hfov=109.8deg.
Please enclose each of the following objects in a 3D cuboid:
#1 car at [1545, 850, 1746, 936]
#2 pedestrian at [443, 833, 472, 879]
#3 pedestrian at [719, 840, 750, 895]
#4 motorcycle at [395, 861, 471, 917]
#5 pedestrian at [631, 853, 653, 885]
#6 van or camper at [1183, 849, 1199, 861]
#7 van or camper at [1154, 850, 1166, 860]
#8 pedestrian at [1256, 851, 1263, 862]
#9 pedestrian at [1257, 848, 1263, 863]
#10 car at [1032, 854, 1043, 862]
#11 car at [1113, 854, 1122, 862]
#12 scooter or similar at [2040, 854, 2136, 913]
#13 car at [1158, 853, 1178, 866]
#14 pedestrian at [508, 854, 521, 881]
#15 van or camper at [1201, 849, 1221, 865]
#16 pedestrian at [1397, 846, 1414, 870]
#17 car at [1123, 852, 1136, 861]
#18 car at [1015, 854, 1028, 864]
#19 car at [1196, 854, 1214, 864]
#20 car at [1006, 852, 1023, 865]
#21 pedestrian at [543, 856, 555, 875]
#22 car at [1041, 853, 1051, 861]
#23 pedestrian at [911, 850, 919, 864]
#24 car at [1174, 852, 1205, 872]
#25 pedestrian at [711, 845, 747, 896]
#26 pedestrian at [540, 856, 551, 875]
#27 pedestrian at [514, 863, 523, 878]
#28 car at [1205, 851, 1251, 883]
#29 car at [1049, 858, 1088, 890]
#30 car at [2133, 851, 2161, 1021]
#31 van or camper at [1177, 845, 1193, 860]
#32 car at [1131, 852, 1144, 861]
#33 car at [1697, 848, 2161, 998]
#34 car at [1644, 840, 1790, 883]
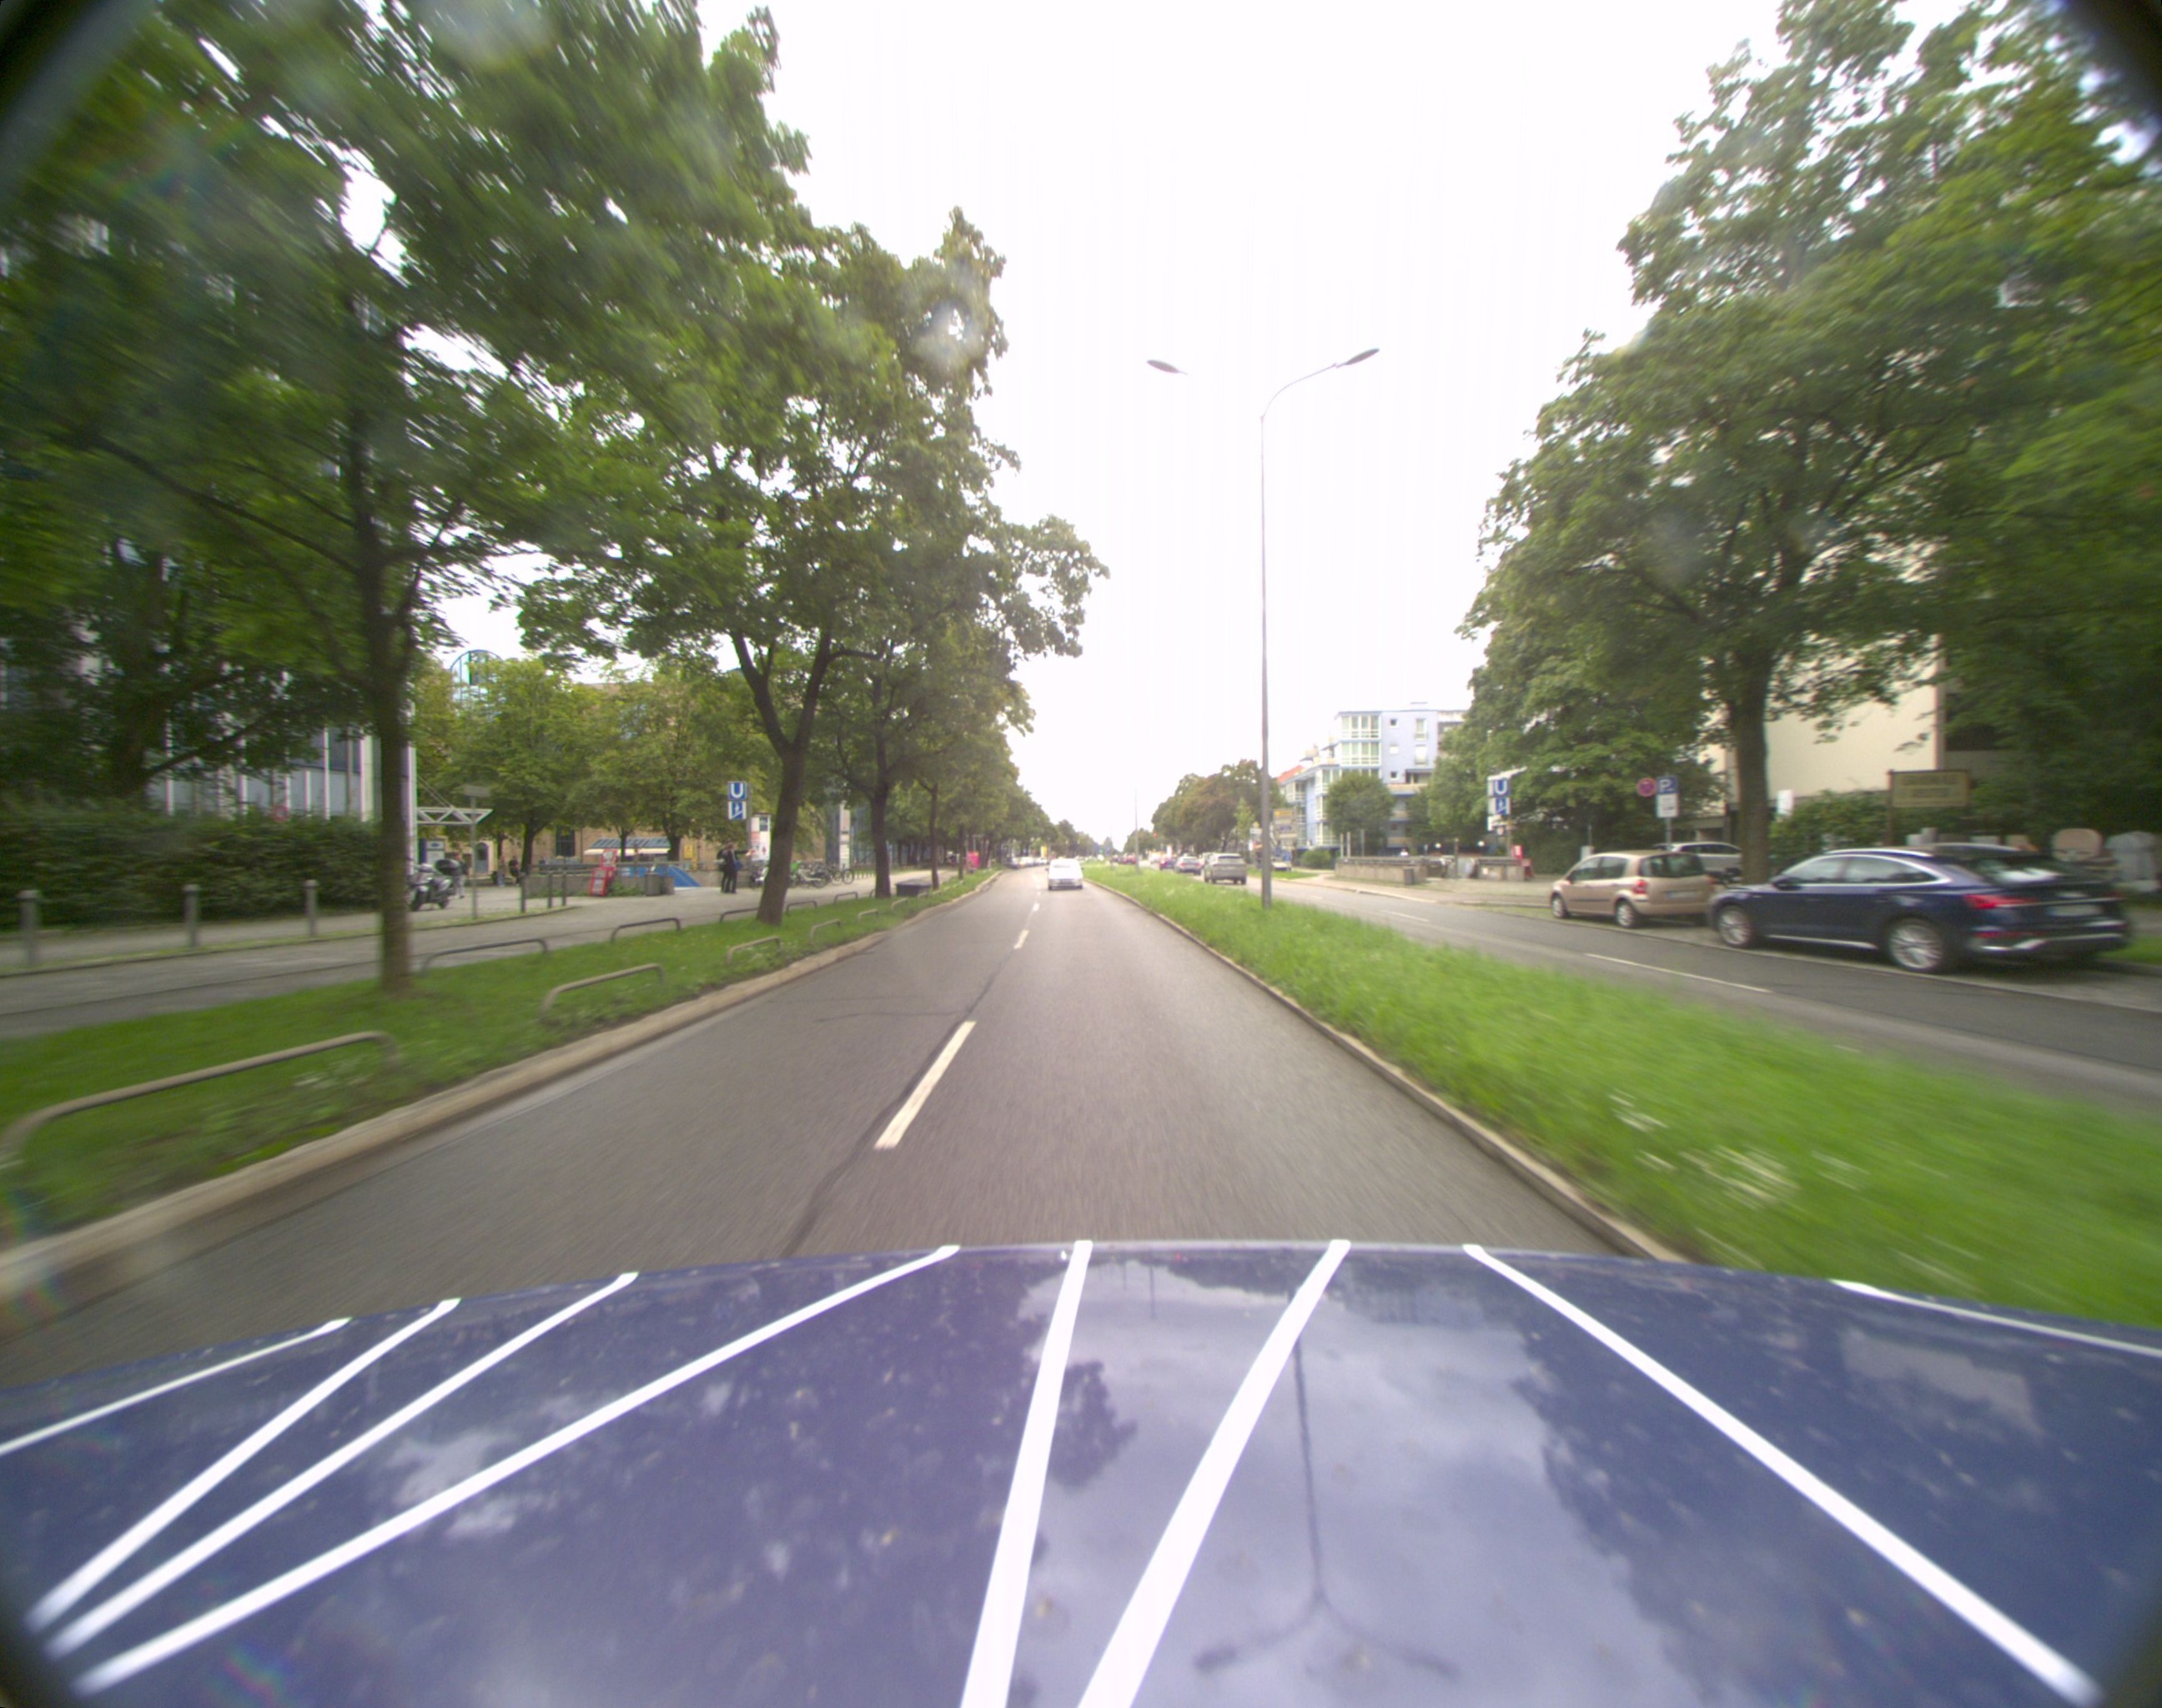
[{"bbox_3d":[11.933,0.741,16.403,1.651,1.605,3.820,-2,0,4],"label":"car"},{"bbox_3d":[-22.963,0.060,27.982,0.651,1.668,0.701,0,1,39],"label":"pedestrian"},{"bbox_3d":[-12.192,0.477,26.771,0.652,1.888,0.750,0,1,12],"label":"pedestrian"},{"bbox_3d":[-16.477,0.858,19.375,0.550,1.311,2.072,-1,0,-12],"label":"motorcycle"},{"bbox_3d":[-24.045,0.805,41.664,0.687,1.762,0.770,0,1,13],"label":"pedestrian"},{"bbox_3d":[17.316,0.158,120.091,2.025,1.930,4.705,0,0,3],"label":"van or camper"},{"bbox_3d":[15.383,0.215,149.078,2.020,2.004,5.199,0,0,2],"label":"van or camper"},{"bbox_3d":[24.385,0.344,103.893,0.974,1.593,0.768,0,1,13],"label":"pedestrian"},{"bbox_3d":[22.015,0.162,93.584,0.643,1.795,0.780,0,1,15],"label":"pedestrian"},{"bbox_3d":[-7.462,0.677,130.337,1.590,1.310,3.735,0,0,3],"label":"car"},{"bbox_3d":[7.527,0.805,156.386,1.761,1.440,3.672,0,0,3],"label":"car"},{"bbox_3d":[19.986,0.558,15.112,0.436,1.120,1.291,0,0,15],"label":"scooter or similar"},{"bbox_3d":[9.141,0.551,79.813,1.696,1.394,3.967,0,0,1],"label":"car"},{"bbox_3d":[-31.545,0.750,42.330,0.384,1.483,0.394,0,1,10],"label":"pedestrian"},{"bbox_3d":[16.095,0.377,94.205,1.809,1.956,5.211,0,0,2],"label":"van or camper"},{"bbox_3d":[23.117,0.277,54.119,0.670,1.698,1.130,0,1,-3],"label":"pedestrian"},{"bbox_3d":[7.014,0.343,110.072,1.787,1.397,4.102,0,0,1],"label":"car"},{"bbox_3d":[-8.548,0.664,109.466,1.627,1.373,4.194,0,0,1],"label":"car"},{"bbox_3d":[16.396,0.638,100.476,1.679,1.386,4.335,0,0,1],"label":"car"},{"bbox_3d":[-8.650,0.582,99.678,1.865,1.581,4.602,0,0,0],"label":"car"},{"bbox_3d":[-47.341,1.018,67.605,0.563,1.668,0.593,0,1,1],"label":"pedestrian"},{"bbox_3d":[-6.743,0.534,147.418,1.590,1.495,3.735,0,0,3],"label":"car"},{"bbox_3d":[-20.970,0.386,96.019,0.738,1.636,0.645,1,1,8],"label":"pedestrian"},{"bbox_3d":[8.453,0.592,59.533,1.920,1.475,4.865,0,0,2],"label":"car"},{"bbox_3d":[-11.939,0.540,25.805,0.783,1.704,0.751,0,1,16],"label":"pedestrian"},{"bbox_3d":[-47.062,1.017,66.720,0.502,1.668,0.594,0,1,23],"label":"pedestrian"},{"bbox_3d":[-49.631,1.471,67.028,0.420,1.275,0.513,0,1,-13],"label":"pedestrian"},{"bbox_3d":[7.693,0.651,40.220,1.770,1.615,4.377,0,0,3],"label":"car"},{"bbox_3d":[-0.570,0.932,37.005,1.679,1.434,3.735,0,0,3],"label":"car"},{"bbox_3d":[11.336,0.766,5.250,1.743,1.642,4.606,-3,0,1],"label":"car"},{"bbox_3d":[17.654,-0.232,129.592,2.054,2.472,5.549,0,0,1],"label":"van or camper"},{"bbox_3d":[9.149,0.425,122.807,1.961,1.471,4.259,0,0,3],"label":"car"},{"bbox_3d":[11.561,0.778,10.927,1.743,1.634,4.685,-2,0,3],"label":"car"},{"bbox_3d":[24.093,0.270,28.909,3.996,1.580,1.749,0,0,4],"label":"car"}]
